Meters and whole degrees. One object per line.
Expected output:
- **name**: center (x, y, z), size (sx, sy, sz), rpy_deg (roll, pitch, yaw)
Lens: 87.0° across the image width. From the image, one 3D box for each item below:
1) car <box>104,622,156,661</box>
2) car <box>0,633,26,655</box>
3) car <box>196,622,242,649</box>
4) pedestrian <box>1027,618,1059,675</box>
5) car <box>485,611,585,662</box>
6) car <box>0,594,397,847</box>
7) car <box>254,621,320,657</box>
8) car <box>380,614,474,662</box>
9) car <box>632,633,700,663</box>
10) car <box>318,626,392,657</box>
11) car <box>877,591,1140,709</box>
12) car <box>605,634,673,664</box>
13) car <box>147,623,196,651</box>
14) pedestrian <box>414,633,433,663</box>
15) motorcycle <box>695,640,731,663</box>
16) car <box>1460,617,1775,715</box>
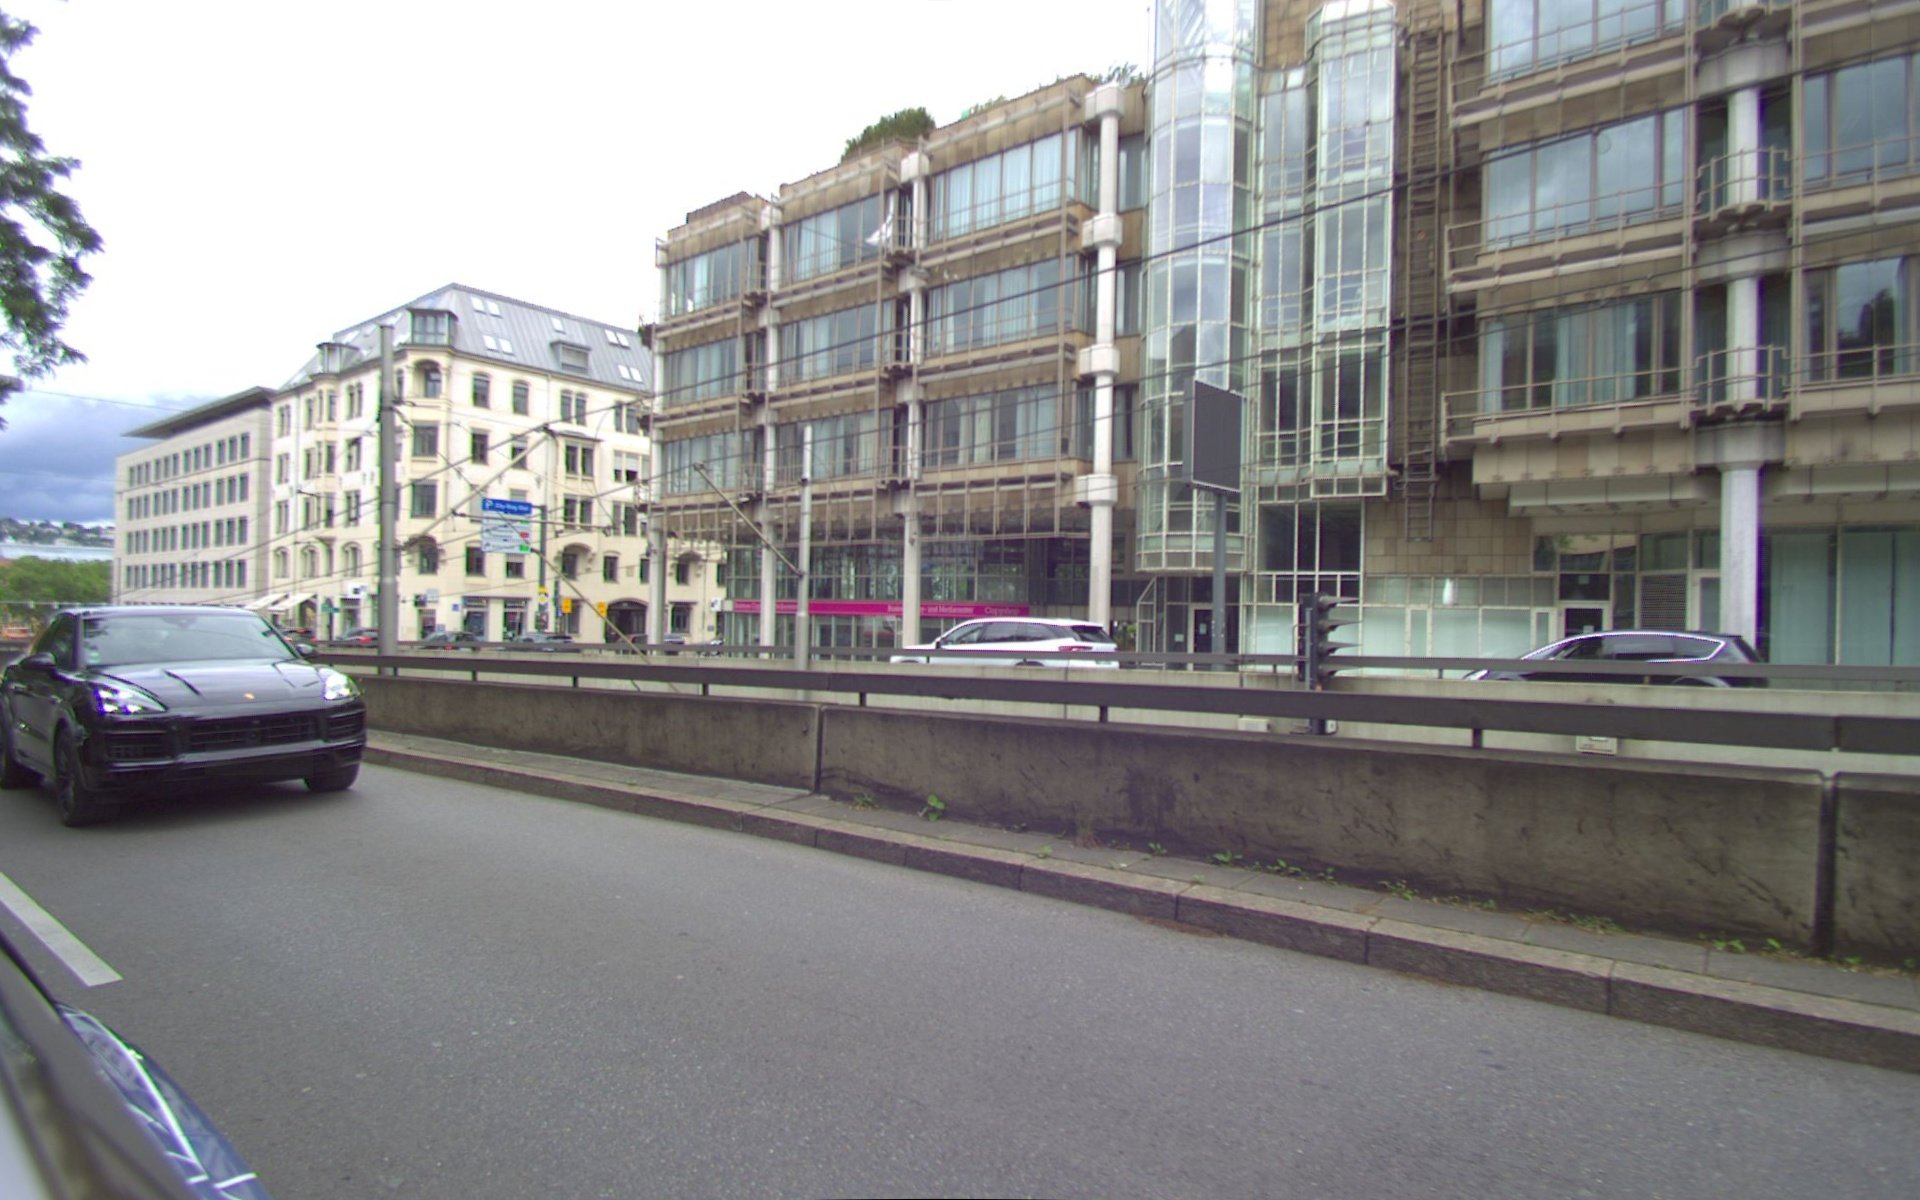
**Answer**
- **car**: center (-69.404, 3.424, 84.628), size (5.464, 3.083, 2.340), rpy_deg (-1, -1, 40)
- **car**: center (-93.341, 4.305, 99.085), size (4.785, 2.029, 2.089), rpy_deg (-1, -1, 39)
- **car**: center (-58.810, 2.815, 80.303), size (3.996, 2.029, 1.974), rpy_deg (-2, -3, 39)
- **pedestrian**: center (2.690, 1.505, 32.831), size (0.739, 1.806, 0.723), rpy_deg (-1, -1, 40)
- **car**: center (-17.353, 1.427, 41.251), size (4.375, 1.929, 1.974), rpy_deg (0, 0, 40)
- **car**: center (-7.392, 0.884, 9.301), size (5.346, 1.688, 2.062), rpy_deg (-2, -1, 39)
- **car**: center (-40.133, 2.301, 60.290), size (4.786, 2.029, 1.974), rpy_deg (-1, -1, 40)
- **car**: center (-24.628, 1.727, 46.710), size (4.784, 1.978, 1.975), rpy_deg (-1, 2, 39)
- **car**: center (-16.958, 2.733, 58.489), size (1.647, 1.674, 3.556), rpy_deg (-2, -2, 36)
- **car**: center (-31.890, 2.172, 53.320), size (4.636, 1.572, 1.796), rpy_deg (-2, -2, 38)
- **car**: center (0.815, 0.863, 18.739), size (4.597, 1.856, 1.817), rpy_deg (-1, 2, 37)
- **car**: center (-18.872, 2.871, 59.640), size (1.647, 1.674, 3.556), rpy_deg (-2, -2, 36)
- **car**: center (-59.715, 2.778, 76.606), size (4.786, 2.029, 1.974), rpy_deg (-1, -1, 40)
- **pedestrian**: center (-30.904, 2.747, 58.325), size (0.684, 1.724, 0.705), rpy_deg (-2, -2, 29)
- **motorcycle**: center (-12.233, 2.552, 50.153), size (1.660, 1.083, 0.640), rpy_deg (-1, -1, 20)
- **car**: center (11.382, 1.088, 17.725), size (4.411, 1.512, 1.646), rpy_deg (-2, -2, 42)
